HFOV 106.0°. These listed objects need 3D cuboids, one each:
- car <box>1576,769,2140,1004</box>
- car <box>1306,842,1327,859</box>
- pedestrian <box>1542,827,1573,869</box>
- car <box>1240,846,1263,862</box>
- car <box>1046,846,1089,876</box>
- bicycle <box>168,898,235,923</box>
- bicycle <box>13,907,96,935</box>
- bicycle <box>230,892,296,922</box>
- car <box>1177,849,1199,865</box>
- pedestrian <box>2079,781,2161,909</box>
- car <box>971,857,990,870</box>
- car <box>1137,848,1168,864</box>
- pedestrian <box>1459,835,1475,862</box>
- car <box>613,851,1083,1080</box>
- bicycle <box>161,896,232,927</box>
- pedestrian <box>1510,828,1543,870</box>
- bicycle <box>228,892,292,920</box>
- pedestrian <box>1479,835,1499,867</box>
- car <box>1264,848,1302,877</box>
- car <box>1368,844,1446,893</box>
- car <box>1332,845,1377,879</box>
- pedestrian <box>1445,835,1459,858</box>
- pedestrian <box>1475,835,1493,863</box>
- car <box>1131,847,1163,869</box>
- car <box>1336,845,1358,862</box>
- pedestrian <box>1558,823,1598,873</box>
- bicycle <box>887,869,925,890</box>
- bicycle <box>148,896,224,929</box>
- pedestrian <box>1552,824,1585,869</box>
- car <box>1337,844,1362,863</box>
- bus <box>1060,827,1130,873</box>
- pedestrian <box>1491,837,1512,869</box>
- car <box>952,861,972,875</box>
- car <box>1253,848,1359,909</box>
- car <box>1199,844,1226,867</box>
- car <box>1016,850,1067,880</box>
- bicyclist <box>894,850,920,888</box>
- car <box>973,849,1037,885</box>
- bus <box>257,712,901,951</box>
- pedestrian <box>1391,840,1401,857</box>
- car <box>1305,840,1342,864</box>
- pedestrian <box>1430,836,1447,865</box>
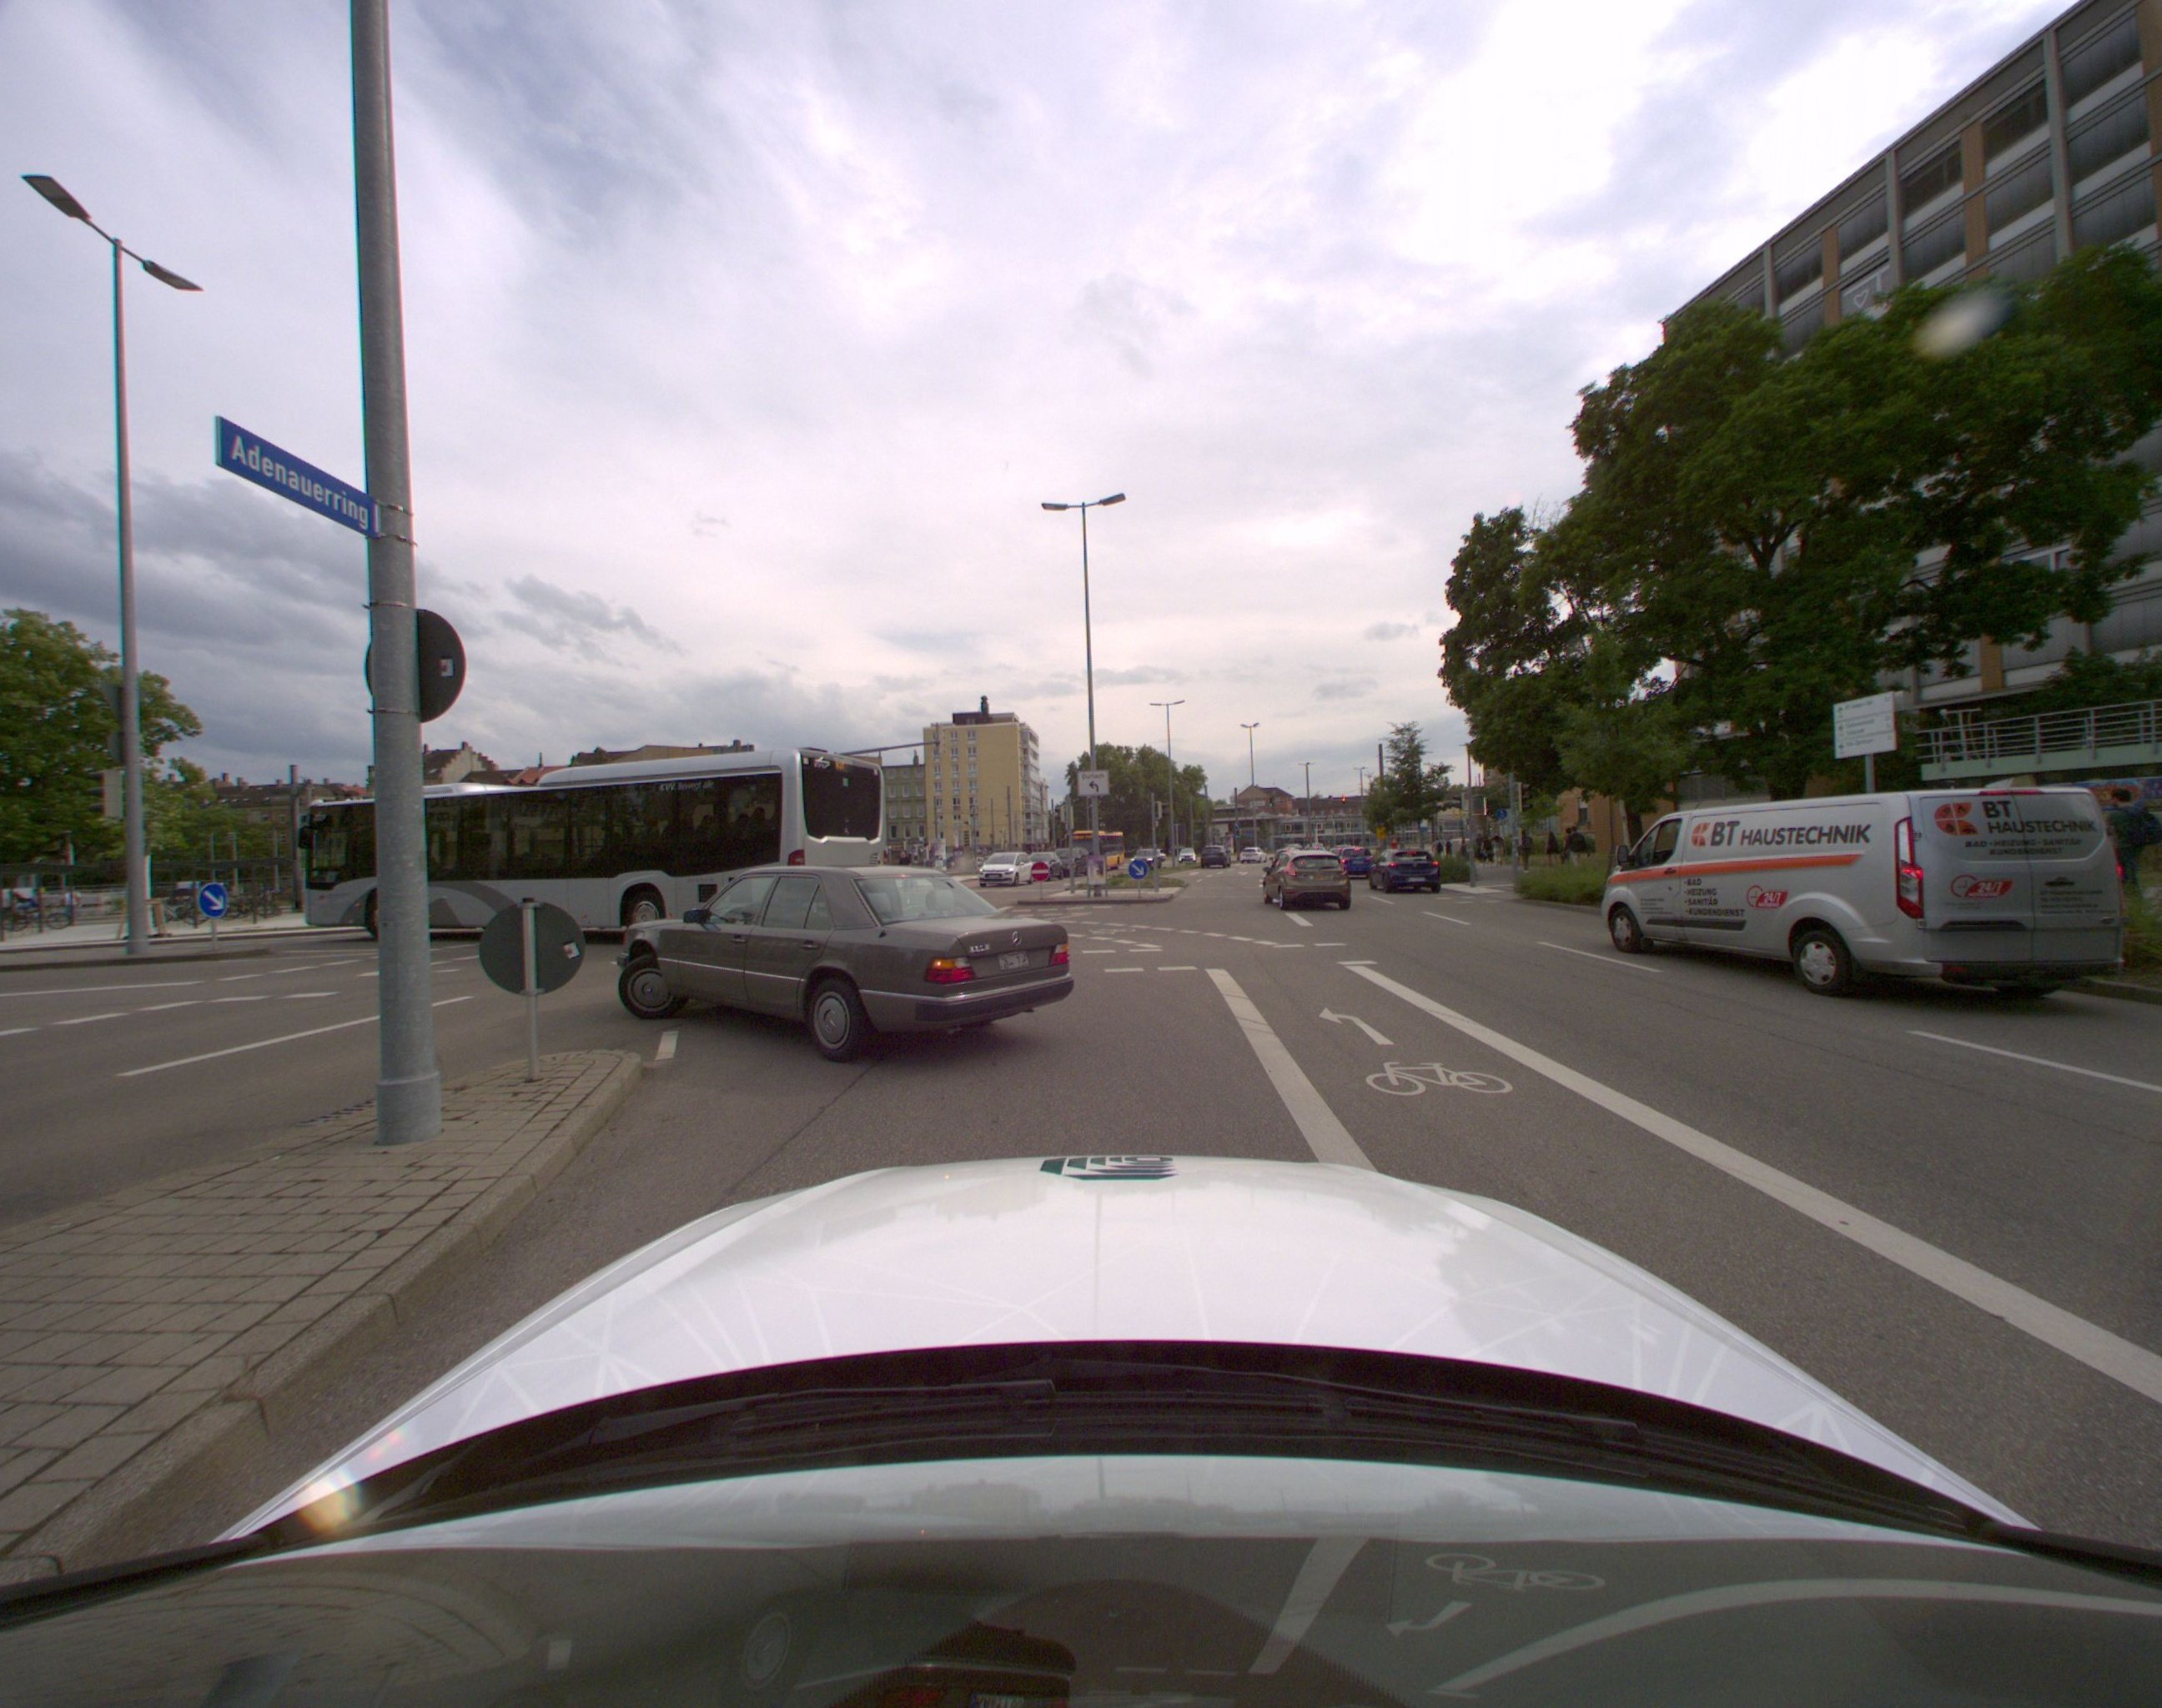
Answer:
[{"bbox_3d":[8.103,0.287,9.453,1.811,1.959,5.210,0,0,4],"label":"car"},{"bbox_3d":[20.881,-0.304,72.131,1.697,1.420,4.017,-1,0,17],"label":"car"},{"bbox_3d":[19.639,-0.234,33.595,0.775,1.711,0.812,0,-1,0],"label":"pedestrian"},{"bbox_3d":[15.643,0.038,74.665,1.697,1.420,4.017,-1,0,17],"label":"car"},{"bbox_3d":[-0.835,0.448,53.046,1.981,1.898,4.303,-1,0,11],"label":"car"},{"bbox_3d":[-38.726,2.470,35.903,1.978,0.970,0.577,0,-1,-45],"label":"bicycle"},{"bbox_3d":[-40.682,2.645,32.313,1.978,0.955,0.577,0,-1,-45],"label":"bicycle"},{"bbox_3d":[-35.508,2.287,35.378,0.576,1.156,1.979,-1,-1,40],"label":"bicycle"},{"bbox_3d":[11.484,0.367,87.055,1.981,1.651,4.526,-1,0,11],"label":"car"},{"bbox_3d":[15.740,-0.137,12.199,0.636,1.852,0.708,-3,-1,0],"label":"pedestrian"},{"bbox_3d":[-15.119,1.423,122.717,1.983,2.014,4.006,0,0,6],"label":"car"},{"bbox_3d":[9.107,0.263,104.297,2.007,2.014,3.959,0,0,-32],"label":"car"},{"bbox_3d":[23.642,-0.326,49.881,0.771,1.574,0.817,-4,-1,23],"label":"pedestrian"},{"bbox_3d":[-2.254,0.737,7.254,4.359,1.480,1.711,-1,0,36],"label":"car"},{"bbox_3d":[-37.038,2.390,34.126,0.576,1.156,1.979,-1,-1,40],"label":"bicycle"},{"bbox_3d":[18.175,-0.196,33.240,0.775,1.711,1.027,0,-1,0],"label":"pedestrian"},{"bbox_3d":[-36.599,2.300,36.315,0.576,1.156,1.979,-1,-1,40],"label":"bicycle"},{"bbox_3d":[20.548,-0.151,41.032,0.771,1.574,0.817,-4,-1,23],"label":"pedestrian"},{"bbox_3d":[10.371,0.411,41.641,1.698,1.420,4.017,-1,0,16],"label":"car"},{"bbox_3d":[10.769,0.471,27.135,1.656,1.508,3.644,-1,0,9],"label":"car"},{"bbox_3d":[12.966,0.379,38.785,1.844,1.533,4.019,-1,0,16],"label":"car"},{"bbox_3d":[25.841,-0.538,56.801,0.771,1.574,0.817,-4,-1,23],"label":"pedestrian"},{"bbox_3d":[23.307,-0.296,47.087,0.771,1.574,0.817,-4,-1,23],"label":"pedestrian"},{"bbox_3d":[5.308,0.325,65.021,1.981,1.651,4.526,-1,0,11],"label":"car"},{"bbox_3d":[22.639,-0.008,69.494,1.690,1.420,3.716,-1,0,17],"label":"car"},{"bbox_3d":[17.439,-0.199,28.611,0.775,1.711,1.027,0,-1,0],"label":"pedestrian"},{"bbox_3d":[-7.739,1.113,36.138,0.858,0.876,2.523,0,0,6],"label":"bicycle"},{"bbox_3d":[-35.215,2.270,32.063,0.576,1.156,1.979,-1,-1,40],"label":"bicycle"},{"bbox_3d":[18.924,-0.300,31.606,0.775,1.711,0.812,0,-1,0],"label":"pedestrian"},{"bbox_3d":[20.756,-0.064,62.981,1.690,1.420,3.716,-1,0,17],"label":"car"},{"bbox_3d":[1.354,-0.276,64.303,3.127,3.255,12.455,-1,0,12],"label":"bus"},{"bbox_3d":[21.502,-0.055,41.660,0.771,1.574,0.817,-4,-1,23],"label":"pedestrian"},{"bbox_3d":[-17.892,2.085,122.768,1.983,2.014,4.006,0,0,6],"label":"car"},{"bbox_3d":[5.660,0.586,20.915,1.690,1.405,3.699,0,0,0],"label":"car"},{"bbox_3d":[9.769,0.136,60.350,1.822,1.615,3.558,-1,0,12],"label":"car"},{"bbox_3d":[-2.238,0.625,47.230,1.981,1.651,4.303,-1,0,11],"label":"car"},{"bbox_3d":[-7.725,0.651,36.188,0.862,1.669,0.882,0,-1,6],"label":"bicyclist"},{"bbox_3d":[-3.654,0.605,40.129,1.981,1.651,4.303,-1,0,11],"label":"car"},{"bbox_3d":[-10.441,-0.070,16.150,14.016,3.438,2.728,-3,0,21],"label":"bus"},{"bbox_3d":[29.040,-0.516,75.106,0.771,1.574,0.817,-4,-1,23],"label":"pedestrian"},{"bbox_3d":[15.238,-0.100,51.156,2.116,1.420,3.716,-1,0,17],"label":"car"},{"bbox_3d":[20.203,-0.177,45.984,0.771,1.574,0.817,-4,-1,23],"label":"pedestrian"}]
